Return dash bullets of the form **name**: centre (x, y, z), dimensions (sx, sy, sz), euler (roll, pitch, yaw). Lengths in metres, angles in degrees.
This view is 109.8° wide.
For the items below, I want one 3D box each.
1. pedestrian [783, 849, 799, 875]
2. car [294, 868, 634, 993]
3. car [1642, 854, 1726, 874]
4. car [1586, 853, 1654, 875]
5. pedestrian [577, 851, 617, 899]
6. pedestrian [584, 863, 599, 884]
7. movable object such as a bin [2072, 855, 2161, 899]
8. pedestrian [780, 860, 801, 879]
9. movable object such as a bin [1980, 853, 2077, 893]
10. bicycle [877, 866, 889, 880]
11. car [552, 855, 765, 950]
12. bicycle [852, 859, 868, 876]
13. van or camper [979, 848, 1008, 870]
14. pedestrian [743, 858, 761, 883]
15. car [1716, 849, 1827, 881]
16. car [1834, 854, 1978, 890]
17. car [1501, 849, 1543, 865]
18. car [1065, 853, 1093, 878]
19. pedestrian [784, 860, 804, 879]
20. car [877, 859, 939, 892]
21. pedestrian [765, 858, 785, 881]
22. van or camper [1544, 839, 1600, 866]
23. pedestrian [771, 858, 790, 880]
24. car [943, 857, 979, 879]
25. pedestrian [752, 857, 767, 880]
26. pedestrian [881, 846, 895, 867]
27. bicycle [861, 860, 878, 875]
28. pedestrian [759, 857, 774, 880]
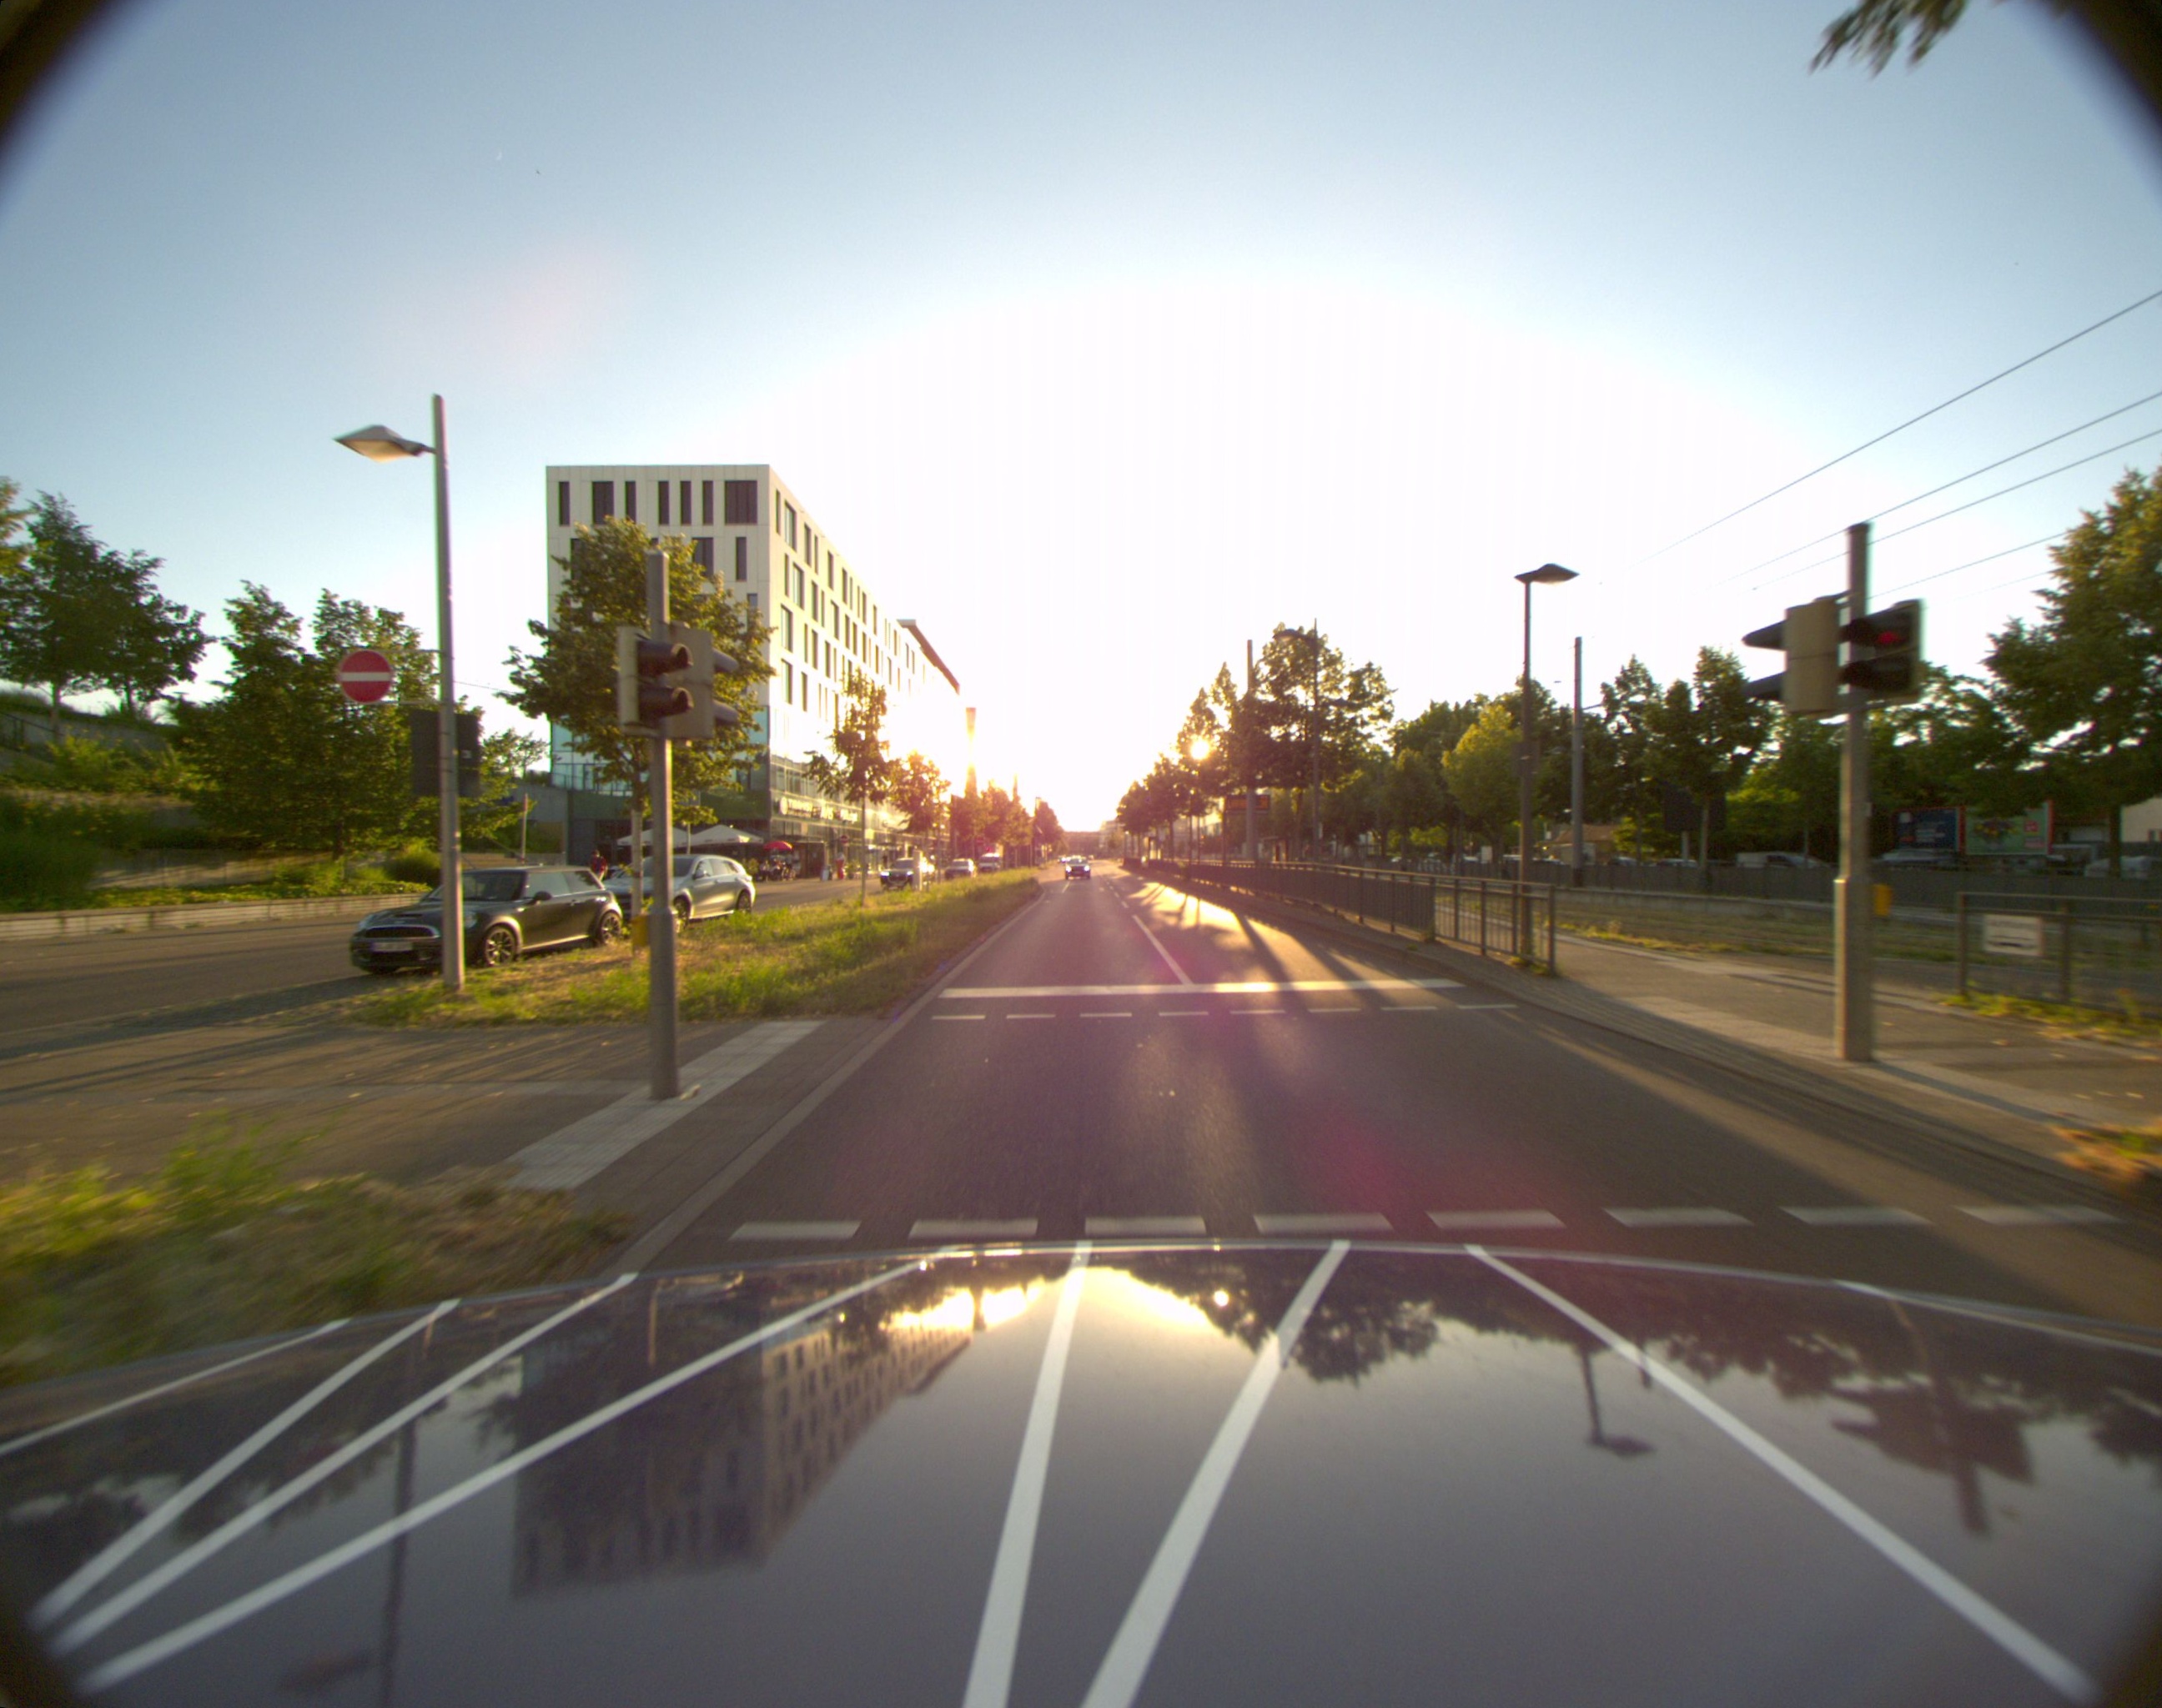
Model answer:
- **pedestrian**: centre (-19.413, 0.534, 50.898), dimensions (0.661, 1.749, 0.686), euler (2, 1, 18)
- **car**: centre (-8.710, 0.973, 11.280), dimensions (1.754, 1.390, 4.000), euler (-1, 0, 0)
- **car**: centre (36.840, 0.590, 46.572), dimensions (1.998, 1.194, 4.089), euler (0, 0, 2)
- **car**: centre (36.953, 0.673, 52.199), dimensions (1.998, 1.399, 4.001), euler (0, 0, 3)
- **pedestrian**: centre (-17.127, 0.734, 26.914), dimensions (0.696, 1.645, 1.078), euler (-1, 1, 0)
- **pedestrian**: centre (-28.133, 1.134, 43.709), dimensions (0.475, 1.208, 0.535), euler (0, 1, 6)
- **movable object such as a bin**: centre (34.442, 0.733, 24.954), dimensions (1.556, 1.364, 1.724), euler (0, 0, 2)
- **pedestrian**: centre (-18.033, 0.955, 47.162), dimensions (0.975, 1.119, 0.685), euler (2, 1, 1)
- **movable object such as a bin**: centre (34.703, 0.672, 27.874), dimensions (1.412, 1.403, 1.701), euler (0, 0, 2)
- **bicycle**: centre (-15.180, 1.448, 58.283), dimensions (0.598, 1.034, 2.072), euler (2, 0, -6)
- **car**: centre (-8.644, 0.884, 16.133), dimensions (1.813, 1.622, 4.675), euler (-3, 0, 0)
- **bicycle**: centre (-15.571, 0.940, 53.653), dimensions (0.641, 1.126, 1.873), euler (2, 0, -3)
- **van or camper**: centre (-8.147, 0.464, 70.944), dimensions (1.963, 1.908, 4.830), euler (-2, 0, 1)
- **pedestrian**: centre (-18.344, 0.931, 42.411), dimensions (0.745, 1.360, 0.770), euler (-1, 1, -11)
- **car**: centre (35.968, 0.539, 39.754), dimensions (1.998, 1.576, 4.297), euler (0, 0, 2)
- **car**: centre (35.588, 0.738, 32.965), dimensions (1.998, 1.440, 4.000), euler (0, 0, 2)
- **car**: centre (41.681, 0.269, 71.922), dimensions (1.998, 1.521, 4.002), euler (0, 0, 5)
- **car**: centre (-0.130, 0.764, 52.186), dimensions (1.828, 1.625, 4.000), euler (-1, 0, 0)
- **pedestrian**: centre (-18.133, 0.973, 47.970), dimensions (0.975, 1.119, 0.685), euler (2, 1, 1)
- **car**: centre (-8.694, 1.043, 38.651), dimensions (1.924, 1.492, 5.410), euler (-1, 0, 0)
- **pedestrian**: centre (-17.456, 0.879, 43.354), dimensions (0.782, 1.283, 0.685), euler (2, 1, 7)
- **van or camper**: centre (48.551, -0.172, 75.301), dimensions (2.396, 2.548, 5.635), euler (0, 0, 6)
- **pedestrian**: centre (-17.509, 0.861, 44.257), dimensions (0.776, 1.283, 0.685), euler (2, 1, 7)
- **car**: centre (-8.344, 0.945, 53.319), dimensions (1.813, 1.492, 4.479), euler (-1, 0, 0)
- **pedestrian**: centre (-18.438, 0.852, 43.556), dimensions (0.664, 1.283, 0.683), euler (1, 1, -32)
- **pedestrian**: centre (-17.582, 0.223, 69.093), dimensions (1.029, 1.872, 0.947), euler (0, 1, -1)
- **bicycle**: centre (-15.601, 1.017, 56.033), dimensions (0.685, 1.057, 2.073), euler (2, 0, -2)
- **pedestrian**: centre (-18.354, 0.840, 44.369), dimensions (0.685, 1.283, 0.628), euler (2, 1, -13)
